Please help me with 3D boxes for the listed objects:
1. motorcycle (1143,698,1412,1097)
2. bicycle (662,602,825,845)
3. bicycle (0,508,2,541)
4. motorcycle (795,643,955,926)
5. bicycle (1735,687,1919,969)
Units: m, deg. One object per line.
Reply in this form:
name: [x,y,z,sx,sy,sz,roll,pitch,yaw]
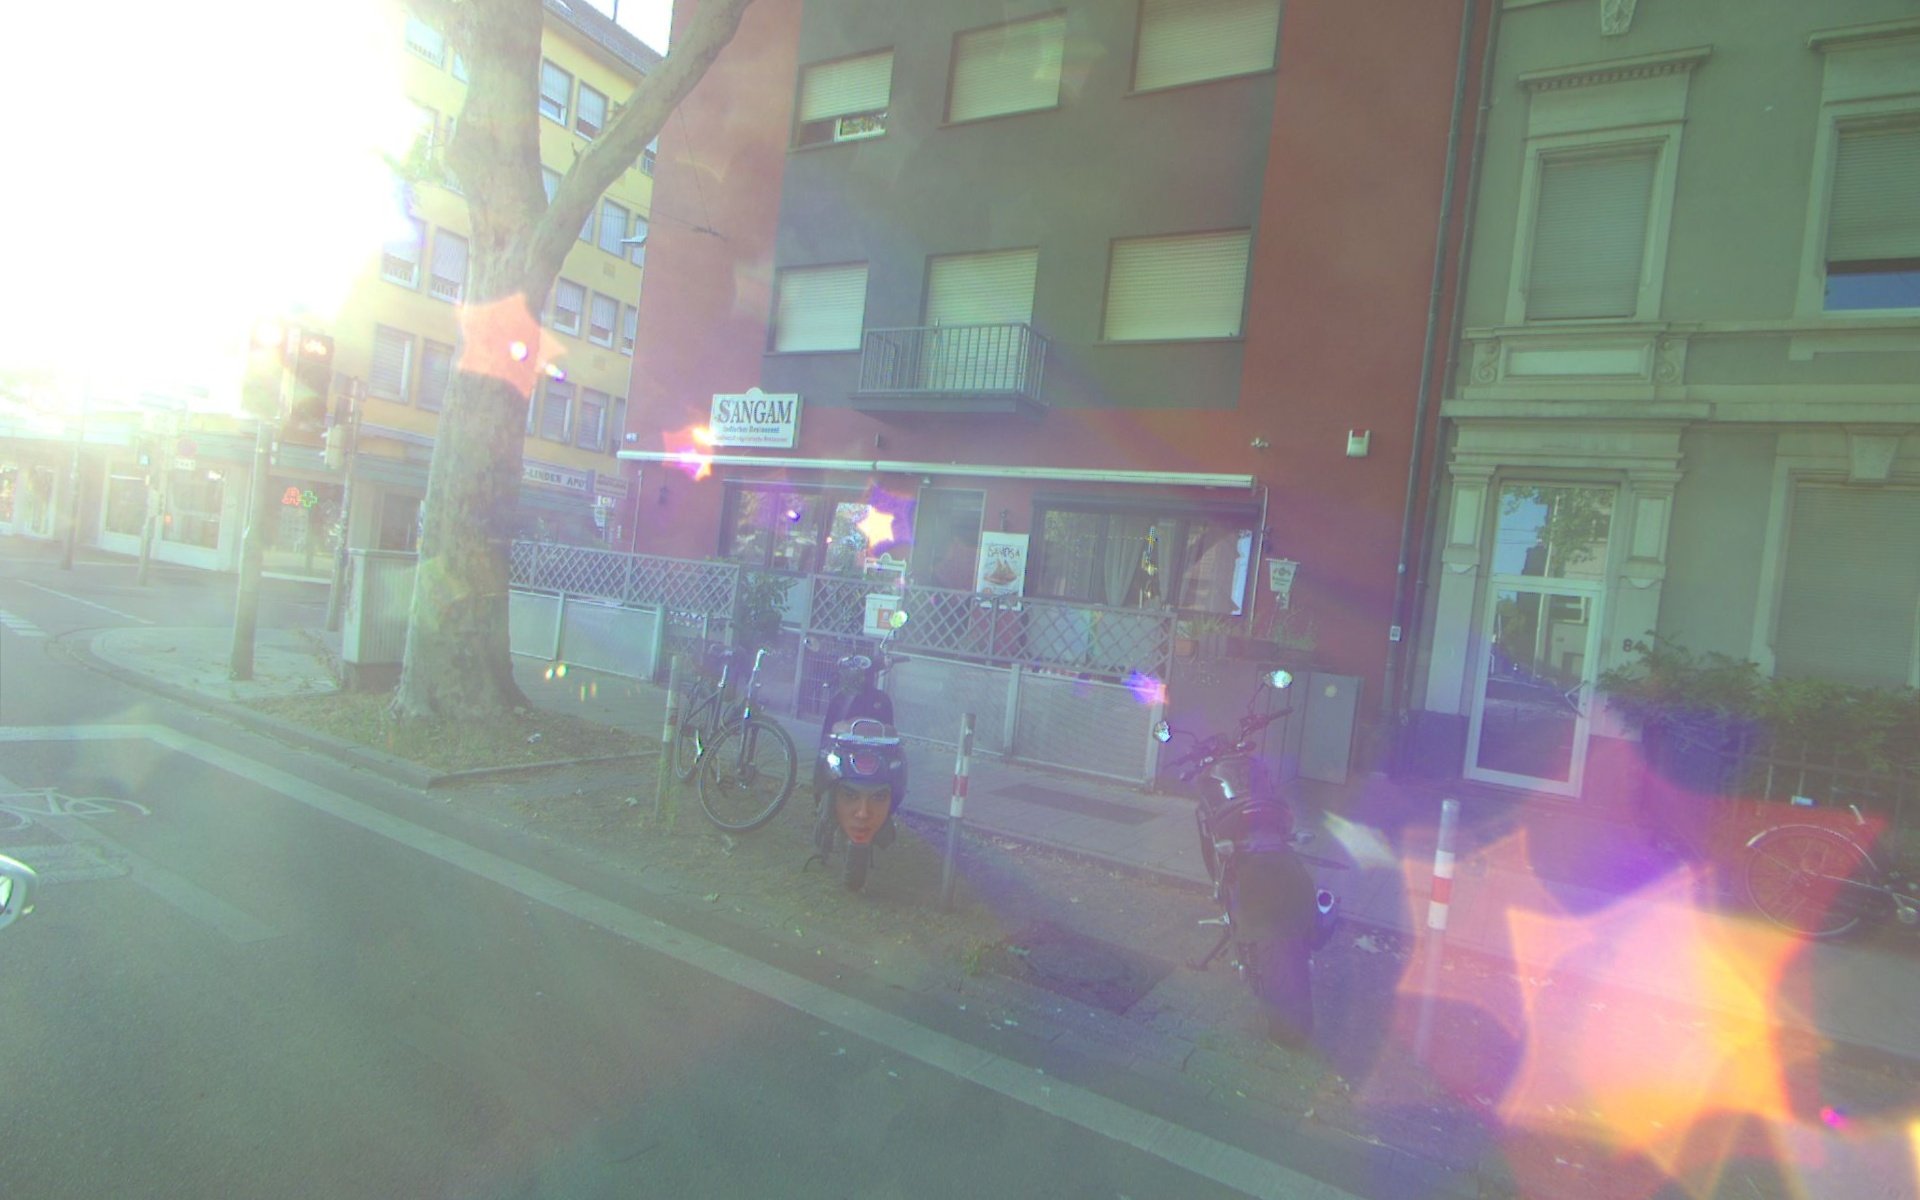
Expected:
motorcycle: [1.305,1.148,4.633,0.752,1.077,2.212,7,2,9]
bicycle: [-1.504,0.737,6.693,0.686,1.219,1.837,8,2,-20]
bicycle: [-23.444,-1.718,23.223,0.683,1.034,1.774,7,1,31]
motorcycle: [-0.554,0.911,5.667,0.591,1.166,1.994,6,0,-10]
bicycle: [5.853,1.368,5.519,2.356,1.443,0.608,6,-1,32]
